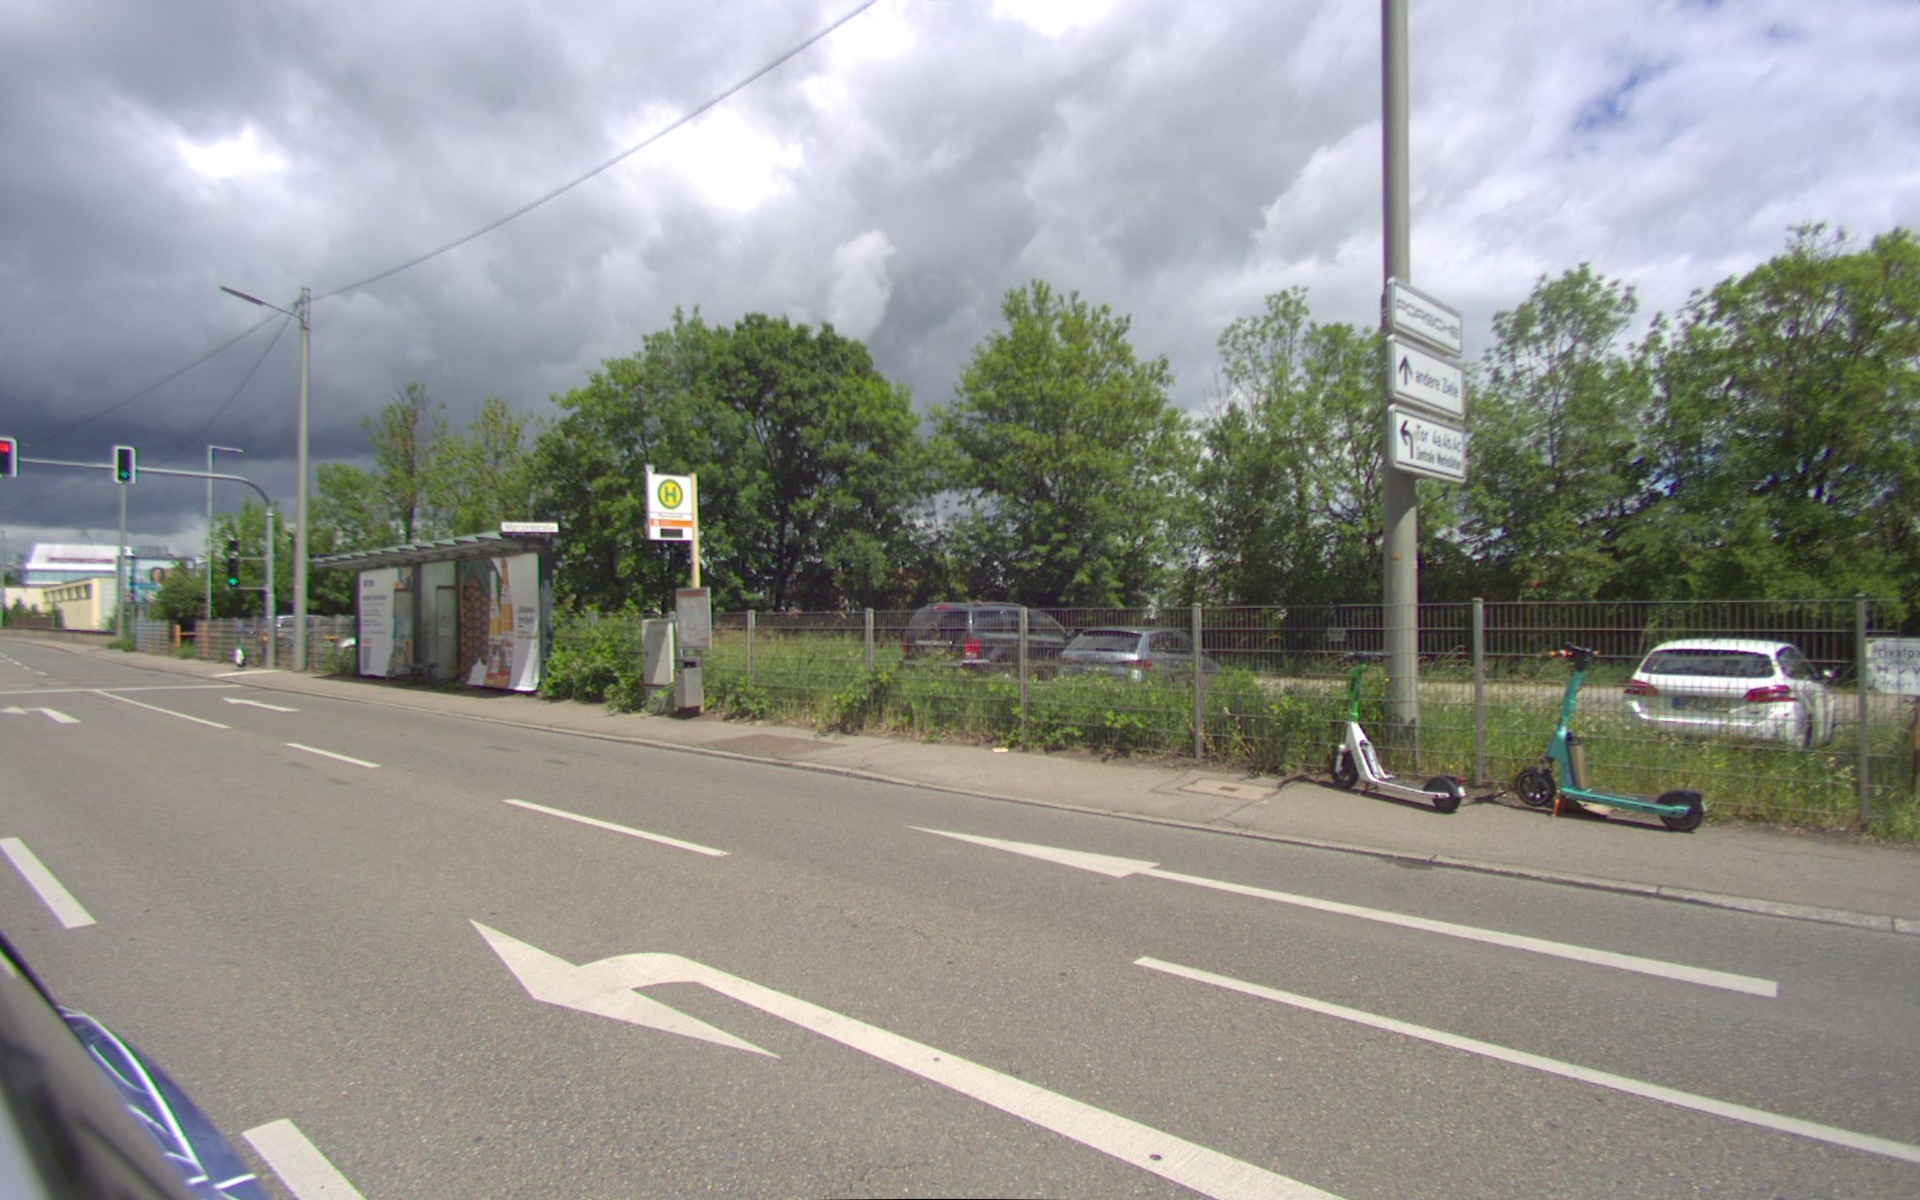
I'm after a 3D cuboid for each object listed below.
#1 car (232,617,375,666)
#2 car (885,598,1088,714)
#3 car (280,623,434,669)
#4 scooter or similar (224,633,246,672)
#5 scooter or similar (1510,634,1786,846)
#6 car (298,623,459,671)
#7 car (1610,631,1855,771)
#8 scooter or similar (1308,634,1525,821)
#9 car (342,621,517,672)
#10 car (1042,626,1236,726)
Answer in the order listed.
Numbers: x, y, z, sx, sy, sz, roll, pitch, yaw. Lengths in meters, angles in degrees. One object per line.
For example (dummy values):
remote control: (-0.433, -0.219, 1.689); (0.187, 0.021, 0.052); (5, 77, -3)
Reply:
car: (-24.617, 1.517, 38.063); (1.997, 1.748, 4.065); (-1, -2, 37)
car: (0.643, 1.023, 20.133); (2.135, 2.029, 4.241); (0, -1, 34)
car: (-20.454, 1.529, 34.462); (1.997, 1.430, 4.063); (-1, -2, 38)
scooter or similar: (-23.576, 1.701, 32.905); (0.419, 1.220, 1.127); (-1, 0, -44)
scooter or similar: (4.687, 0.887, 6.965); (0.528, 1.275, 1.473); (-1, 0, -44)
car: (-18.457, 1.453, 32.252); (1.916, 1.430, 4.059); (-2, -2, 42)
car: (9.761, 1.110, 12.656); (4.227, 1.391, 1.867); (1, -1, -45)
scooter or similar: (3.506, 0.921, 7.888); (0.527, 1.272, 1.476); (-1, 0, -32)
car: (-15.933, 1.350, 30.524); (2.024, 1.430, 4.264); (-2, -2, 43)
car: (3.288, 1.223, 17.899); (1.905, 1.498, 4.242); (0, -1, 33)
